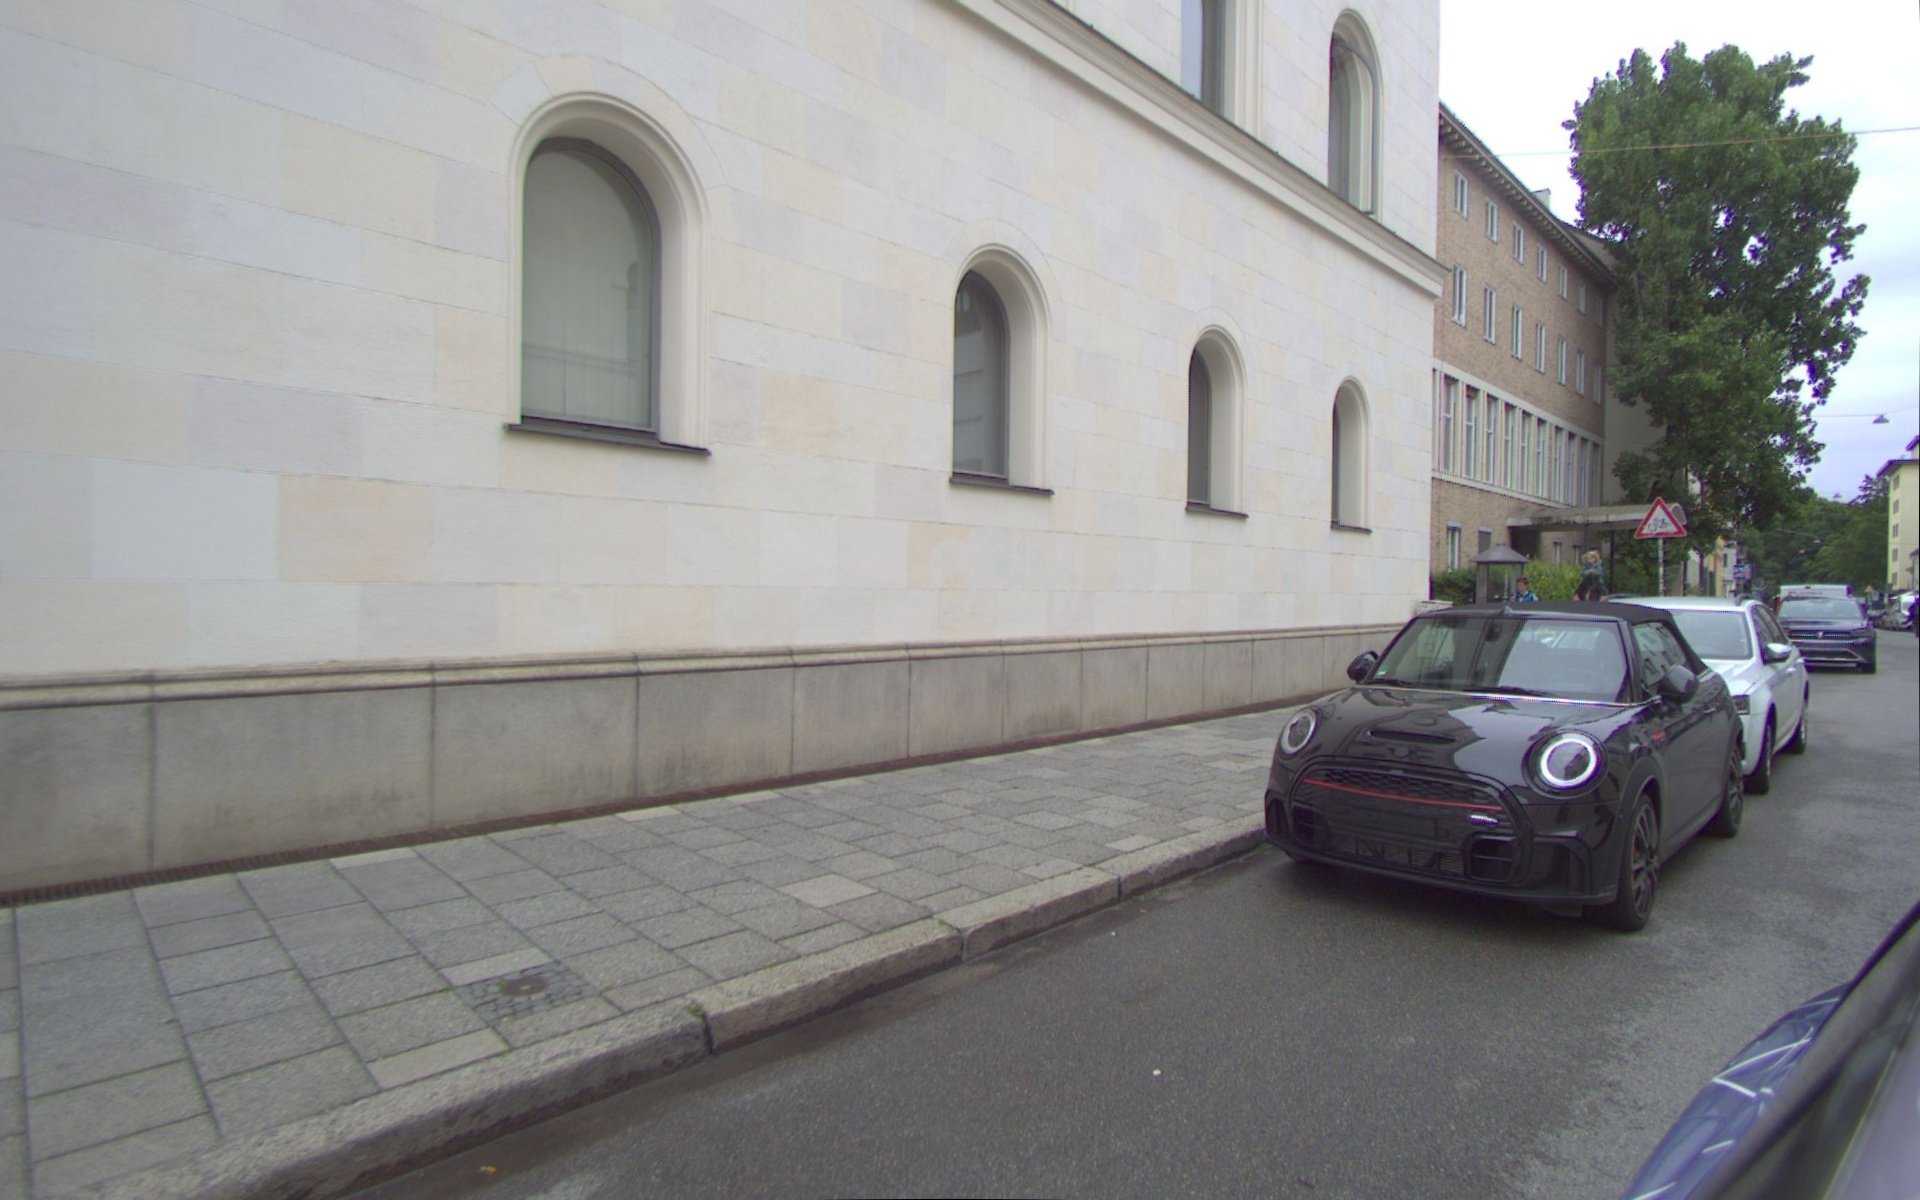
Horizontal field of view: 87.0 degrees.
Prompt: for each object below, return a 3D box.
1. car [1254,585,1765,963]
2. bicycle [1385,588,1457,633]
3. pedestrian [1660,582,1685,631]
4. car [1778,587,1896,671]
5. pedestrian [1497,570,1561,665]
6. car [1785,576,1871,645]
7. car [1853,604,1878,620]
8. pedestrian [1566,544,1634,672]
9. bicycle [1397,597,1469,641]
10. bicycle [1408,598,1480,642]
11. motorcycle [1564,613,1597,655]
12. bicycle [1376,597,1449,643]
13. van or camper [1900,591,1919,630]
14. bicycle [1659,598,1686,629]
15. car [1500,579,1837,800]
[{"bbox_3d":[3.304,0.657,5.739,3.711,1.444,1.541,-1,0,-45],"label":"car"},{"bbox_3d":[11.608,0.262,25.508,0.342,1.055,1.632,1,1,-42],"label":"bicycle"},{"bbox_3d":[24.606,0.212,34.944,0.588,1.653,0.863,0,-1,45],"label":"pedestrian"},{"bbox_3d":[18.510,0.542,21.443,1.745,1.614,3.898,0,0,40],"label":"car"},{"bbox_3d":[10.584,0.308,18.832,0.739,1.714,0.858,1,-1,-43],"label":"pedestrian"},{"bbox_3d":[26.753,0.284,31.192,1.880,1.948,4.801,1,0,41],"label":"car"},{"bbox_3d":[95.453,1.251,106.665,1.704,1.518,3.944,1,0,39],"label":"car"},{"bbox_3d":[11.482,0.124,18.168,0.800,2.224,0.794,0,2,-45],"label":"pedestrian"},{"bbox_3d":[12.084,0.468,25.890,1.629,1.055,0.343,3,1,42],"label":"bicycle"},{"bbox_3d":[12.512,0.504,26.195,1.628,1.055,0.343,3,1,41],"label":"bicycle"},{"bbox_3d":[16.853,0.907,27.461,0.487,1.067,1.896,0,0,40],"label":"motorcycle"},{"bbox_3d":[11.247,0.485,25.184,0.342,1.055,1.632,1,1,-42],"label":"bicycle"},{"bbox_3d":[60.696,0.663,63.578,1.991,2.340,5.400,1,0,39],"label":"van or camper"},{"bbox_3d":[26.253,0.483,37.275,0.669,1.087,2.192,1,1,39],"label":"bicycle"},{"bbox_3d":[6.526,0.586,9.120,1.790,1.494,4.244,2,2,45],"label":"car"}]
